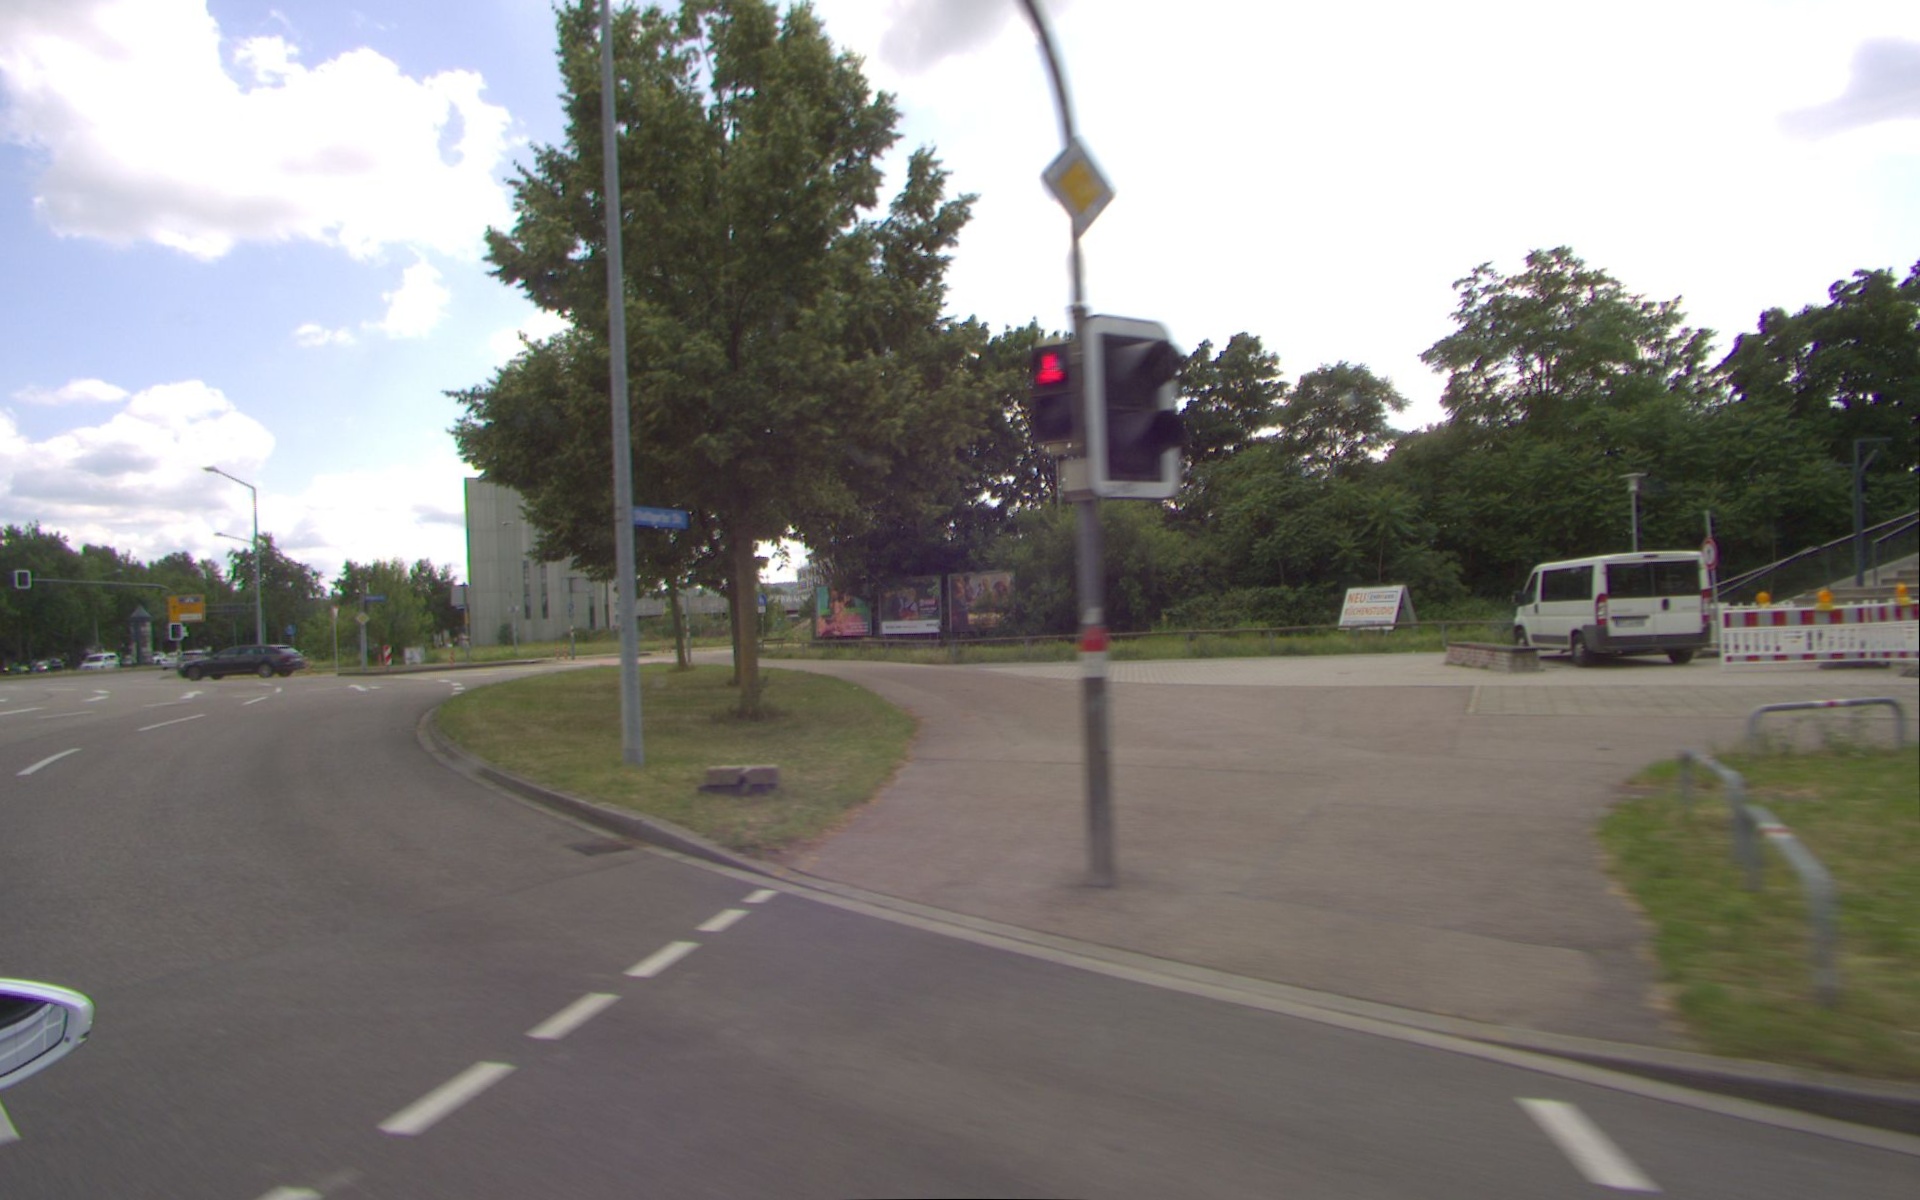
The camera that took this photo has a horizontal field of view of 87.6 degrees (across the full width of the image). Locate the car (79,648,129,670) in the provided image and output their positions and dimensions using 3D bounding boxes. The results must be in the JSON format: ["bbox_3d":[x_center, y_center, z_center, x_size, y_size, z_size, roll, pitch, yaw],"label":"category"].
[{"bbox_3d":[-80.013,5.472,93.674,1.811,1.822,4.779,-4,-1,-18],"label":"car"}]

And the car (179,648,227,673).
[{"bbox_3d":[-56.105,4.442,74.286,1.968,1.647,4.294,-2,-1,-25],"label":"car"}]

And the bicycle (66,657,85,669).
[{"bbox_3d":[-94.571,6.727,107.051,0.750,1.234,2.013,0,-2,-19],"label":"bicycle"}]

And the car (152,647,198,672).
[{"bbox_3d":[-65.669,4.947,83.833,1.967,2.039,3.990,-1,-2,-22],"label":"car"}]

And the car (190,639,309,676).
[{"bbox_3d":[-31.306,2.511,44.203,3.924,1.482,1.689,-1,-1,-8],"label":"car"}]

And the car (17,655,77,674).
[{"bbox_3d":[-77.676,5.496,85.261,1.811,1.327,4.781,-4,-1,-17],"label":"car"}]

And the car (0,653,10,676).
[{"bbox_3d":[-68.362,4.516,69.310,1.880,1.613,4.585,-2,-1,-18],"label":"car"}]

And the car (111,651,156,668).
[{"bbox_3d":[-82.026,5.894,99.481,1.812,1.499,4.744,-4,-1,-19],"label":"car"}]

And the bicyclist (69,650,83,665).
[{"bbox_3d":[-94.619,6.125,107.179,0.818,1.585,0.882,0,-1,-19],"label":"bicyclist"}]

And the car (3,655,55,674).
[{"bbox_3d":[-80.995,5.602,87.173,1.592,1.365,4.164,-4,-1,-18],"label":"car"}]

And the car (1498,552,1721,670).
[{"bbox_3d":[13.627,0.260,21.478,2.108,2.175,5.150,-2,-1,10],"label":"car"}]

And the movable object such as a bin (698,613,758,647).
[{"bbox_3d":[-27.890,3.643,120.667,2.999,3.900,7.598,-2,-3,24],"label":"movable object such as a bin"}]
